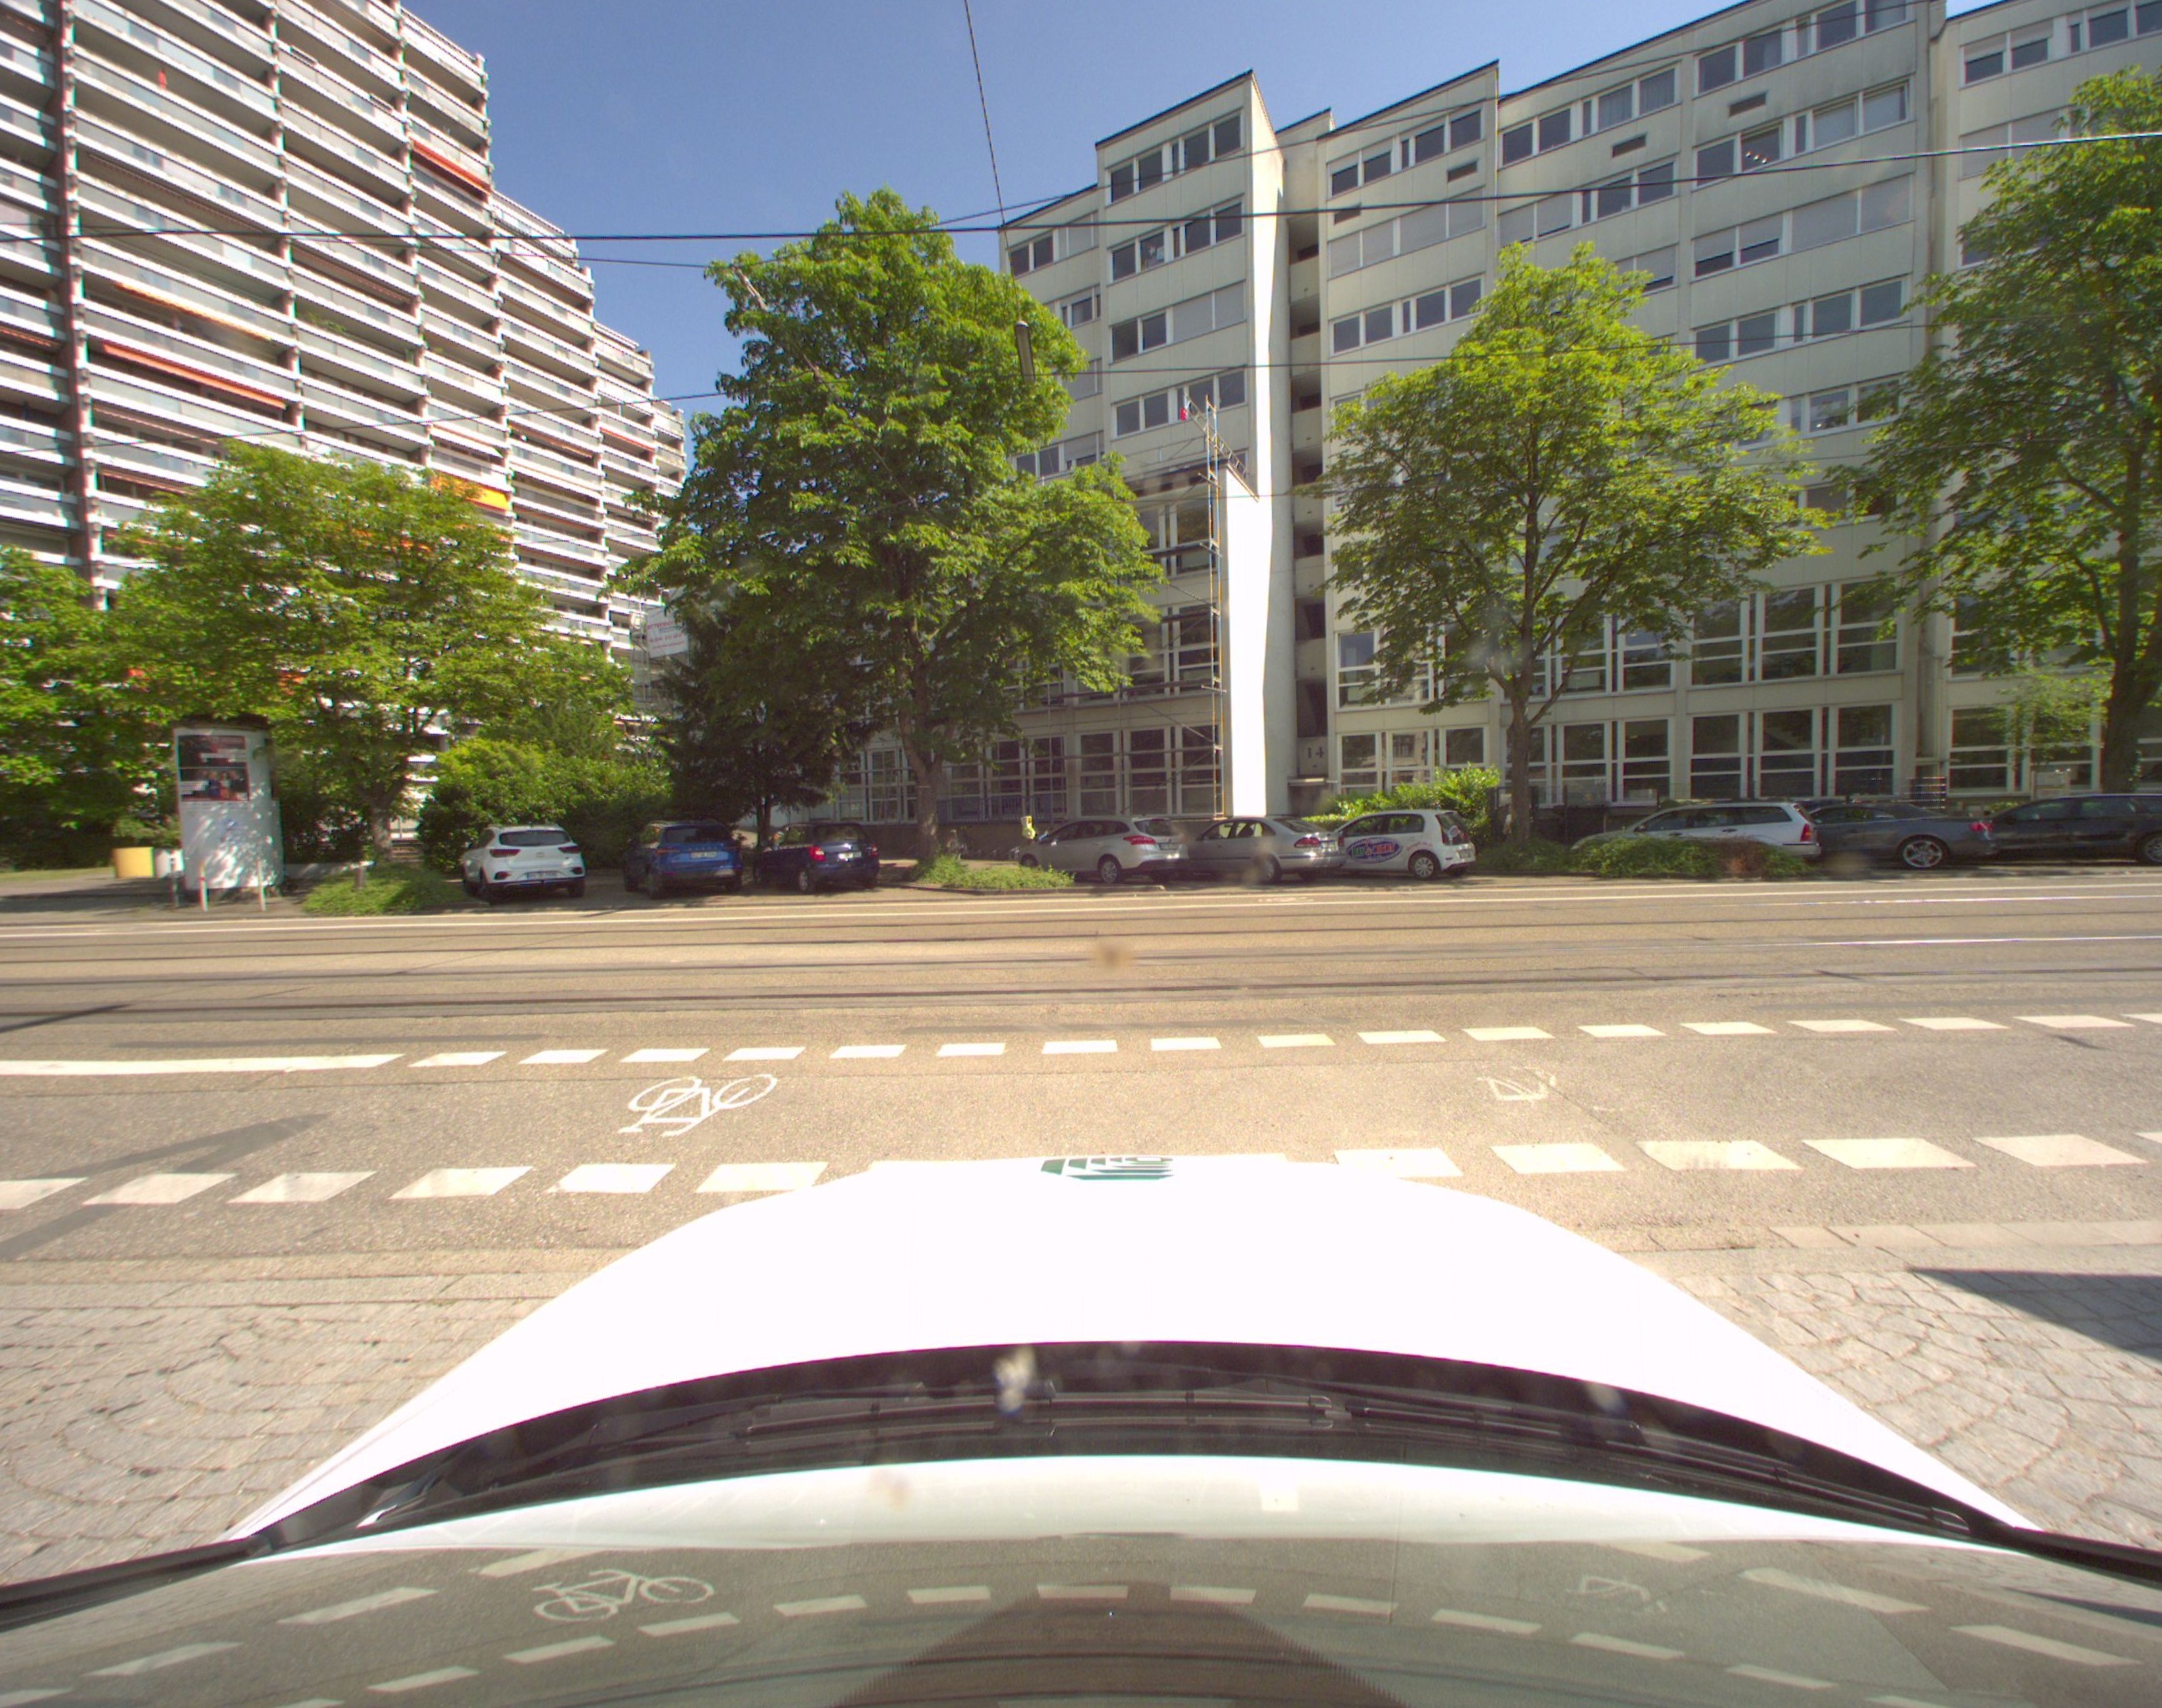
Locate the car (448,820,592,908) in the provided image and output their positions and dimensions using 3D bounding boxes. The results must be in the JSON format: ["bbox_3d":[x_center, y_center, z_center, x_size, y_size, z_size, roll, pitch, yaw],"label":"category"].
[{"bbox_3d":[-12.445,0.157,17.983,3.896,1.605,1.831,1,6,45],"label":"car"}]

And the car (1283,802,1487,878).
[{"bbox_3d":[6.620,-0.302,18.049,1.622,1.486,3.898,-4,2,-42],"label":"car"}]

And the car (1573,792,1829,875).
[{"bbox_3d":[13.384,-0.439,17.767,4.290,1.604,1.568,0,2,44],"label":"car"}]

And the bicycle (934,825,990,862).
[{"bbox_3d":[-3.743,-0.365,25.913,0.734,1.085,2.215,-1,3,21],"label":"bicycle"}]

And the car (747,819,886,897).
[{"bbox_3d":[-5.918,0.038,18.051,1.585,1.530,3.416,-4,3,-43],"label":"car"}]

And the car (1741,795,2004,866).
[{"bbox_3d":[16.695,-0.501,17.373,1.567,1.357,3.897,-4,3,-43],"label":"car"}]

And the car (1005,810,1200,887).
[{"bbox_3d":[0.375,-0.159,18.341,1.795,1.485,4.382,-4,3,-43],"label":"car"}]

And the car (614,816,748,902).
[{"bbox_3d":[-8.985,0.004,18.134,1.790,1.622,3.901,-5,5,-38],"label":"car"}]

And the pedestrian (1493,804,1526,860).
[{"bbox_3d":[11.322,-0.586,21.513,0.618,1.460,0.424,-2,2,-1],"label":"pedestrian"}]

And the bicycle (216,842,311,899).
[{"bbox_3d":[-19.928,0.392,19.863,1.612,1.308,0.546,-2,2,-4],"label":"bicycle"}]

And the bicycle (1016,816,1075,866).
[{"bbox_3d":[-1.070,-0.426,24.901,0.655,1.453,2.104,0,3,33],"label":"bicycle"}]

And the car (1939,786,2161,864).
[{"bbox_3d":[20.386,-0.601,16.664,1.567,1.485,3.897,-4,3,-43],"label":"car"}]

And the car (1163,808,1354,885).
[{"bbox_3d":[3.792,-0.198,17.914,1.622,1.485,3.899,-4,3,-41],"label":"car"}]
